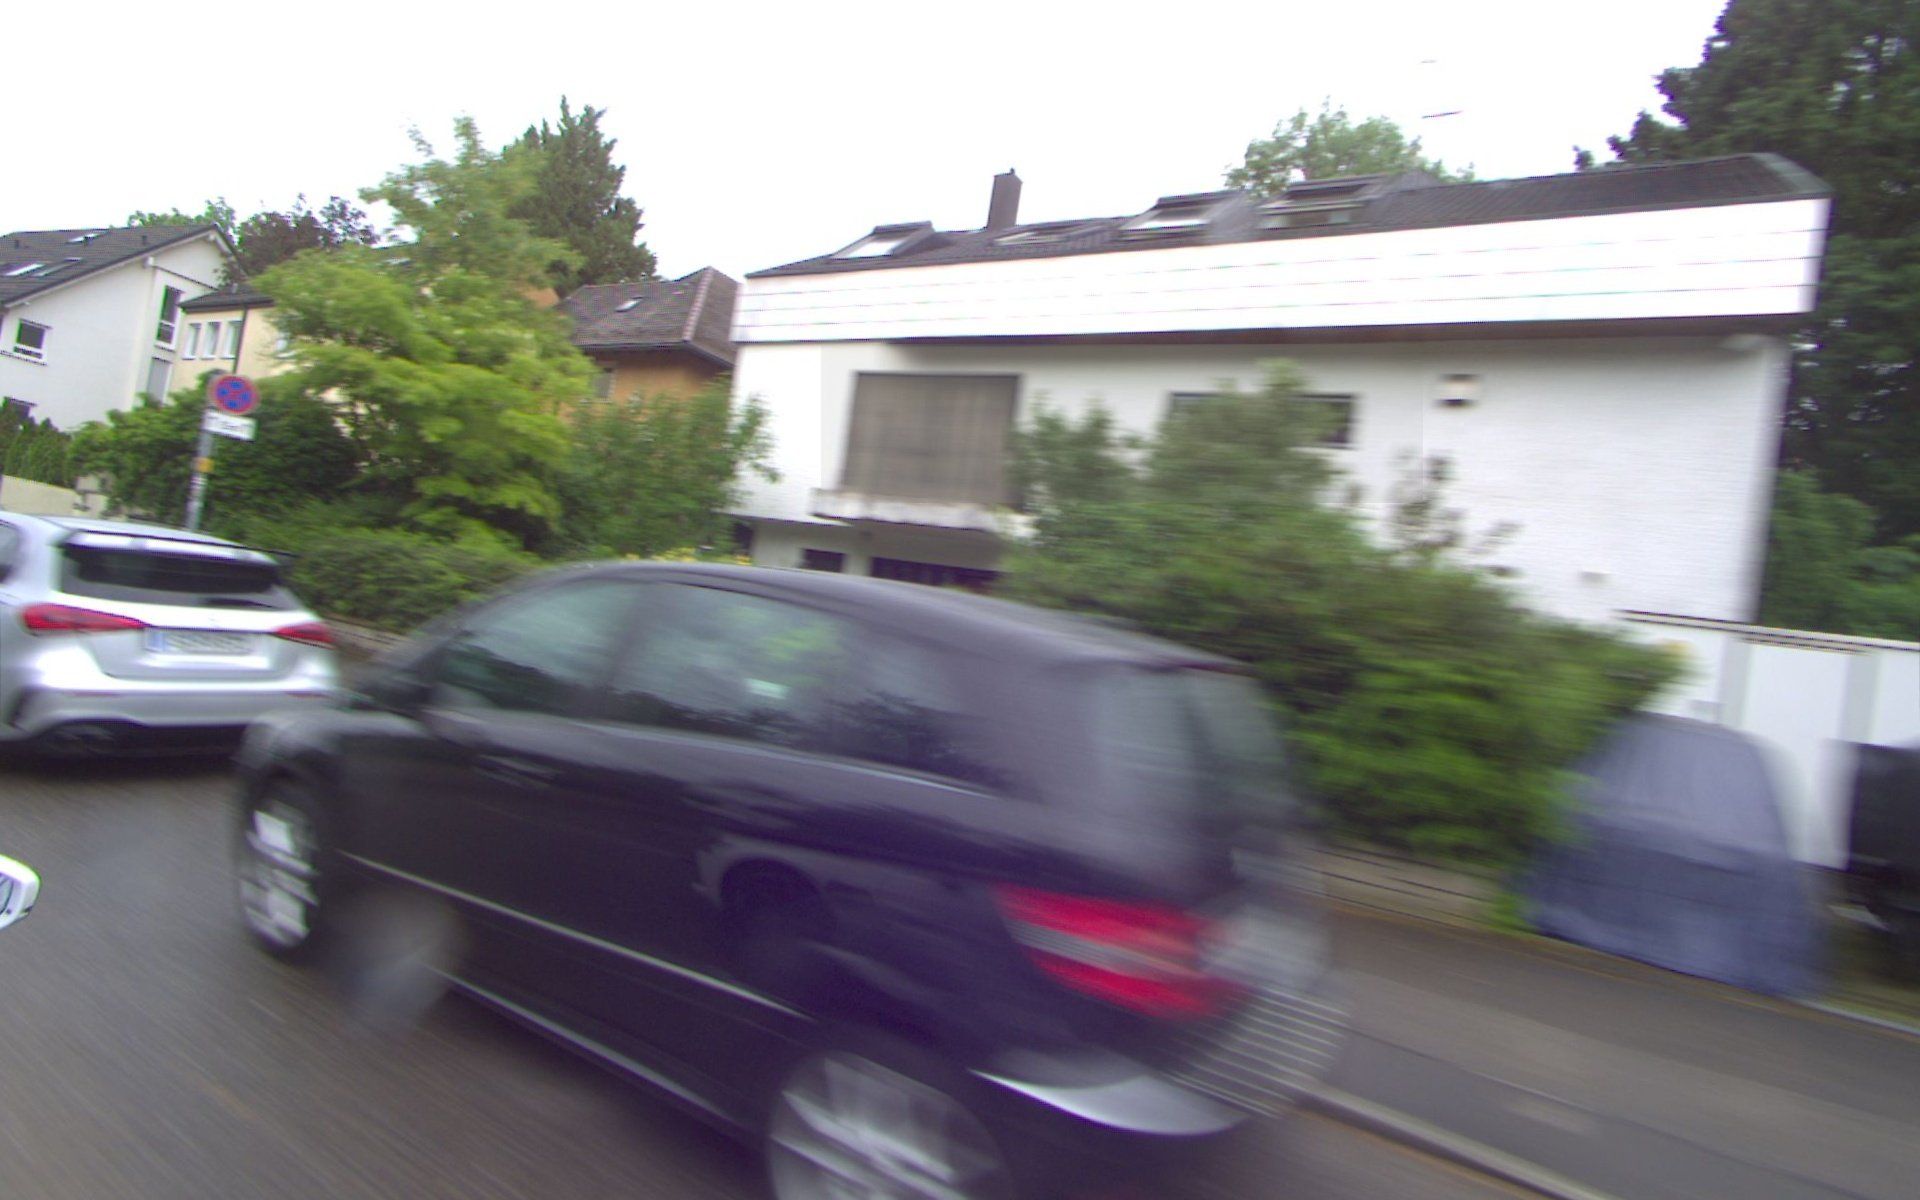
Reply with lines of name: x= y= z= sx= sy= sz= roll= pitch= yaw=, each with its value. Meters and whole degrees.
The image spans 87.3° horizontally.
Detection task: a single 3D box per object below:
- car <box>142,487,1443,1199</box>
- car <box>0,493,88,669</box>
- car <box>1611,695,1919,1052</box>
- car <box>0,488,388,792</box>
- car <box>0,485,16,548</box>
car: x=-0.897 y=0.644 z=3.611 sx=4.447 sy=1.586 sz=1.733 roll=7 pitch=-1 yaw=32
car: x=-10.201 y=-0.400 z=9.404 sx=4.525 sy=1.460 sz=1.755 roll=6 pitch=-2 yaw=32
car: x=5.408 y=1.515 z=6.405 sx=1.851 sy=1.477 sz=4.254 roll=6 pitch=-3 yaw=31
car: x=-6.117 y=0.110 z=6.892 sx=4.421 sy=1.503 sz=1.797 roll=6 pitch=-2 yaw=32
car: x=-27.779 y=-2.558 z=26.906 sx=4.263 sy=1.612 sz=1.942 roll=7 pitch=-5 yaw=23
